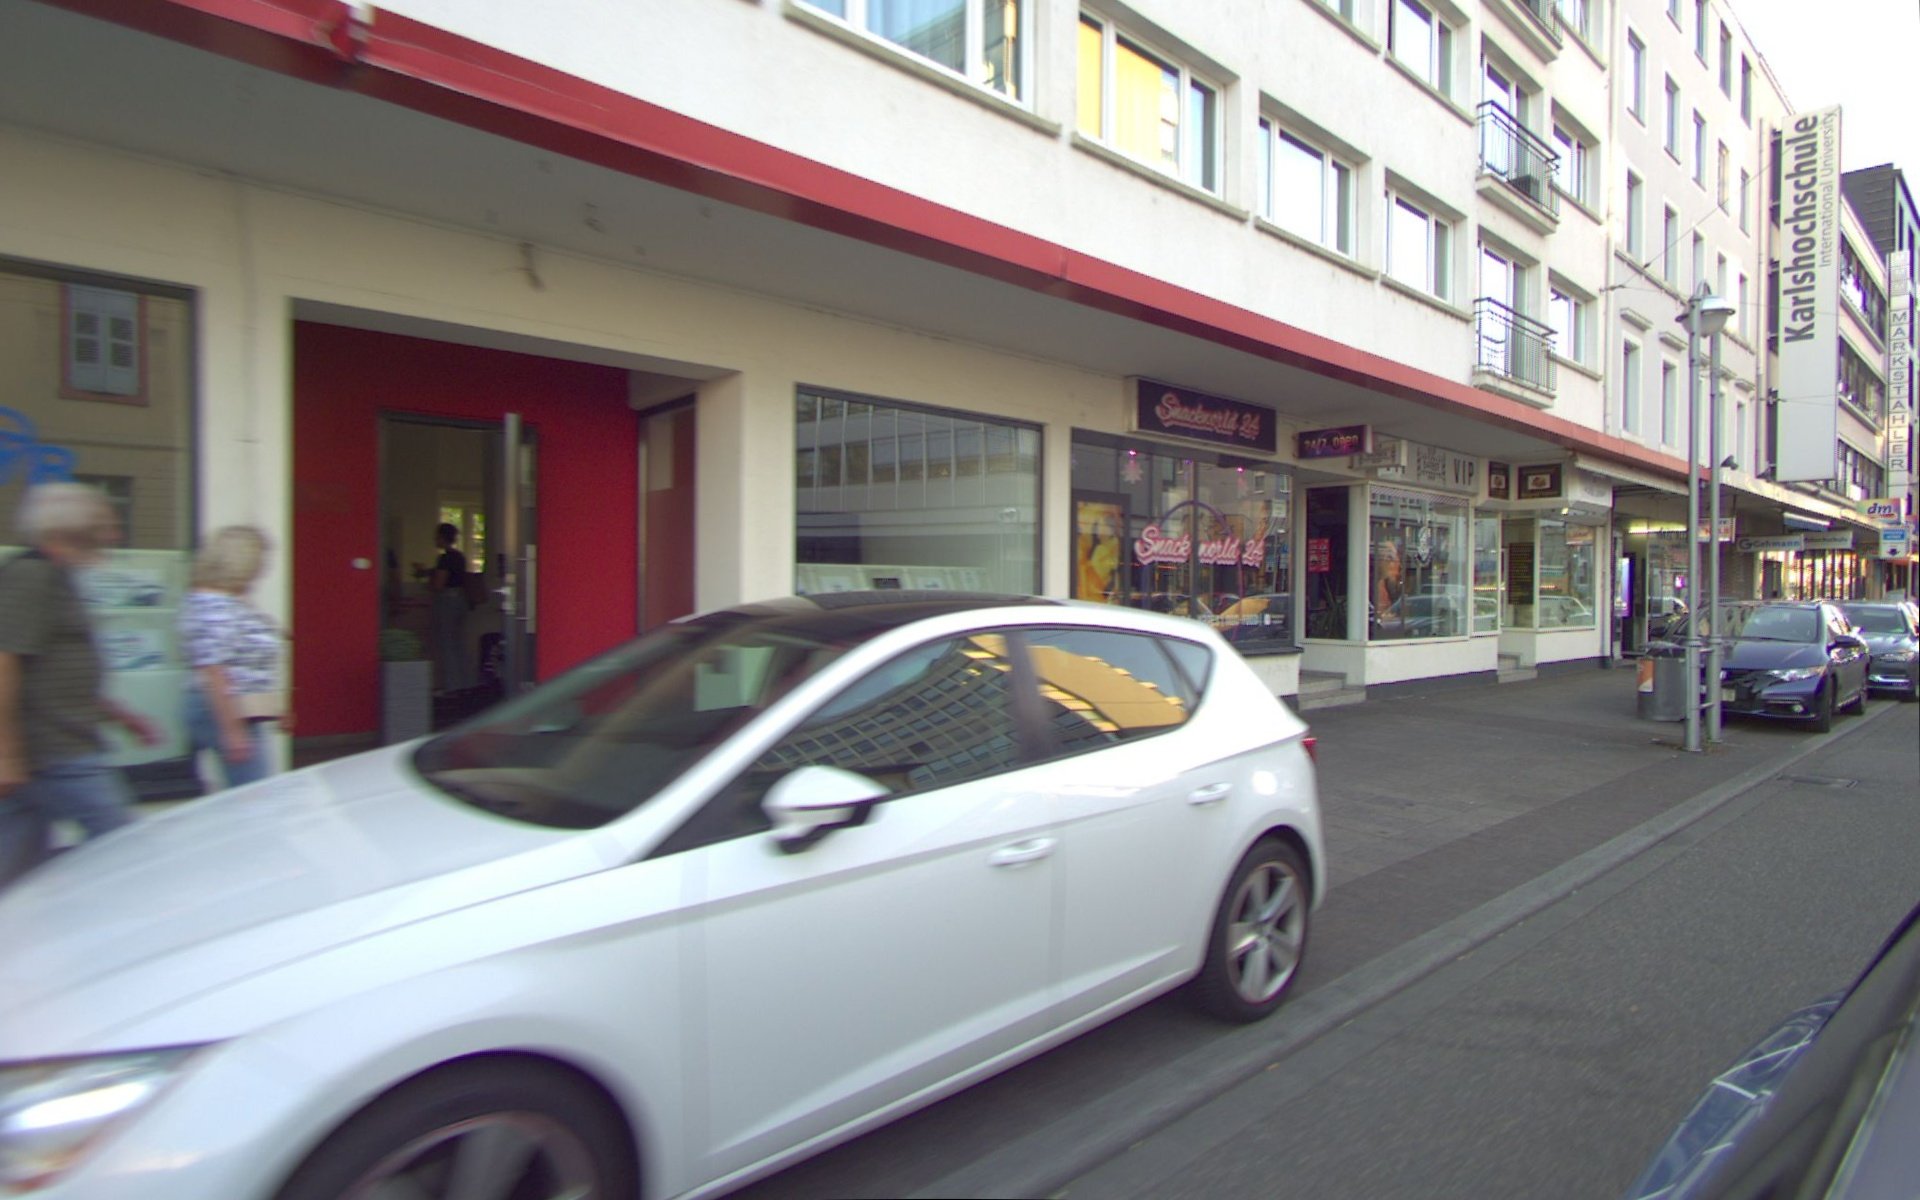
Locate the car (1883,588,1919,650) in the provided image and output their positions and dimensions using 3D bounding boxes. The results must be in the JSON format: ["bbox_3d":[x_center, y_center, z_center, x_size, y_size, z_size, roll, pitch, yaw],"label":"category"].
[{"bbox_3d":[25.720,0.497,26.565,4.094,1.530,1.724,0,2,-41],"label":"car"}]

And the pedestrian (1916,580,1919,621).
[{"bbox_3d":[45.494,0.010,47.810,0.414,1.923,0.452,0,1,-41],"label":"pedestrian"}]

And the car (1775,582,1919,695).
[{"bbox_3d":[14.744,0.526,16.326,4.632,1.530,1.792,0,2,-43],"label":"car"}]

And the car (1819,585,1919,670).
[{"bbox_3d":[18.837,0.502,20.431,3.964,1.530,1.689,0,2,-41],"label":"car"}]

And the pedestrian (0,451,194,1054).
[{"bbox_3d":[-3.008,0.425,3.241,0.828,1.739,0.828,0,2,-41],"label":"pedestrian"}]

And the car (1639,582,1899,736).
[{"bbox_3d":[10.050,0.589,12.457,4.228,1.530,1.738,0,2,-41],"label":"car"}]

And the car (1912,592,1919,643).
[{"bbox_3d":[30.830,0.562,31.171,4.183,1.530,1.747,0,2,-41],"label":"car"}]

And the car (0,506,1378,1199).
[{"bbox_3d":[-0.540,0.600,3.138,3.981,1.530,1.789,0,2,-41],"label":"car"}]

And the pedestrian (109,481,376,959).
[{"bbox_3d":[-3.035,0.428,4.276,0.848,1.763,0.730,0,2,-41],"label":"pedestrian"}]
